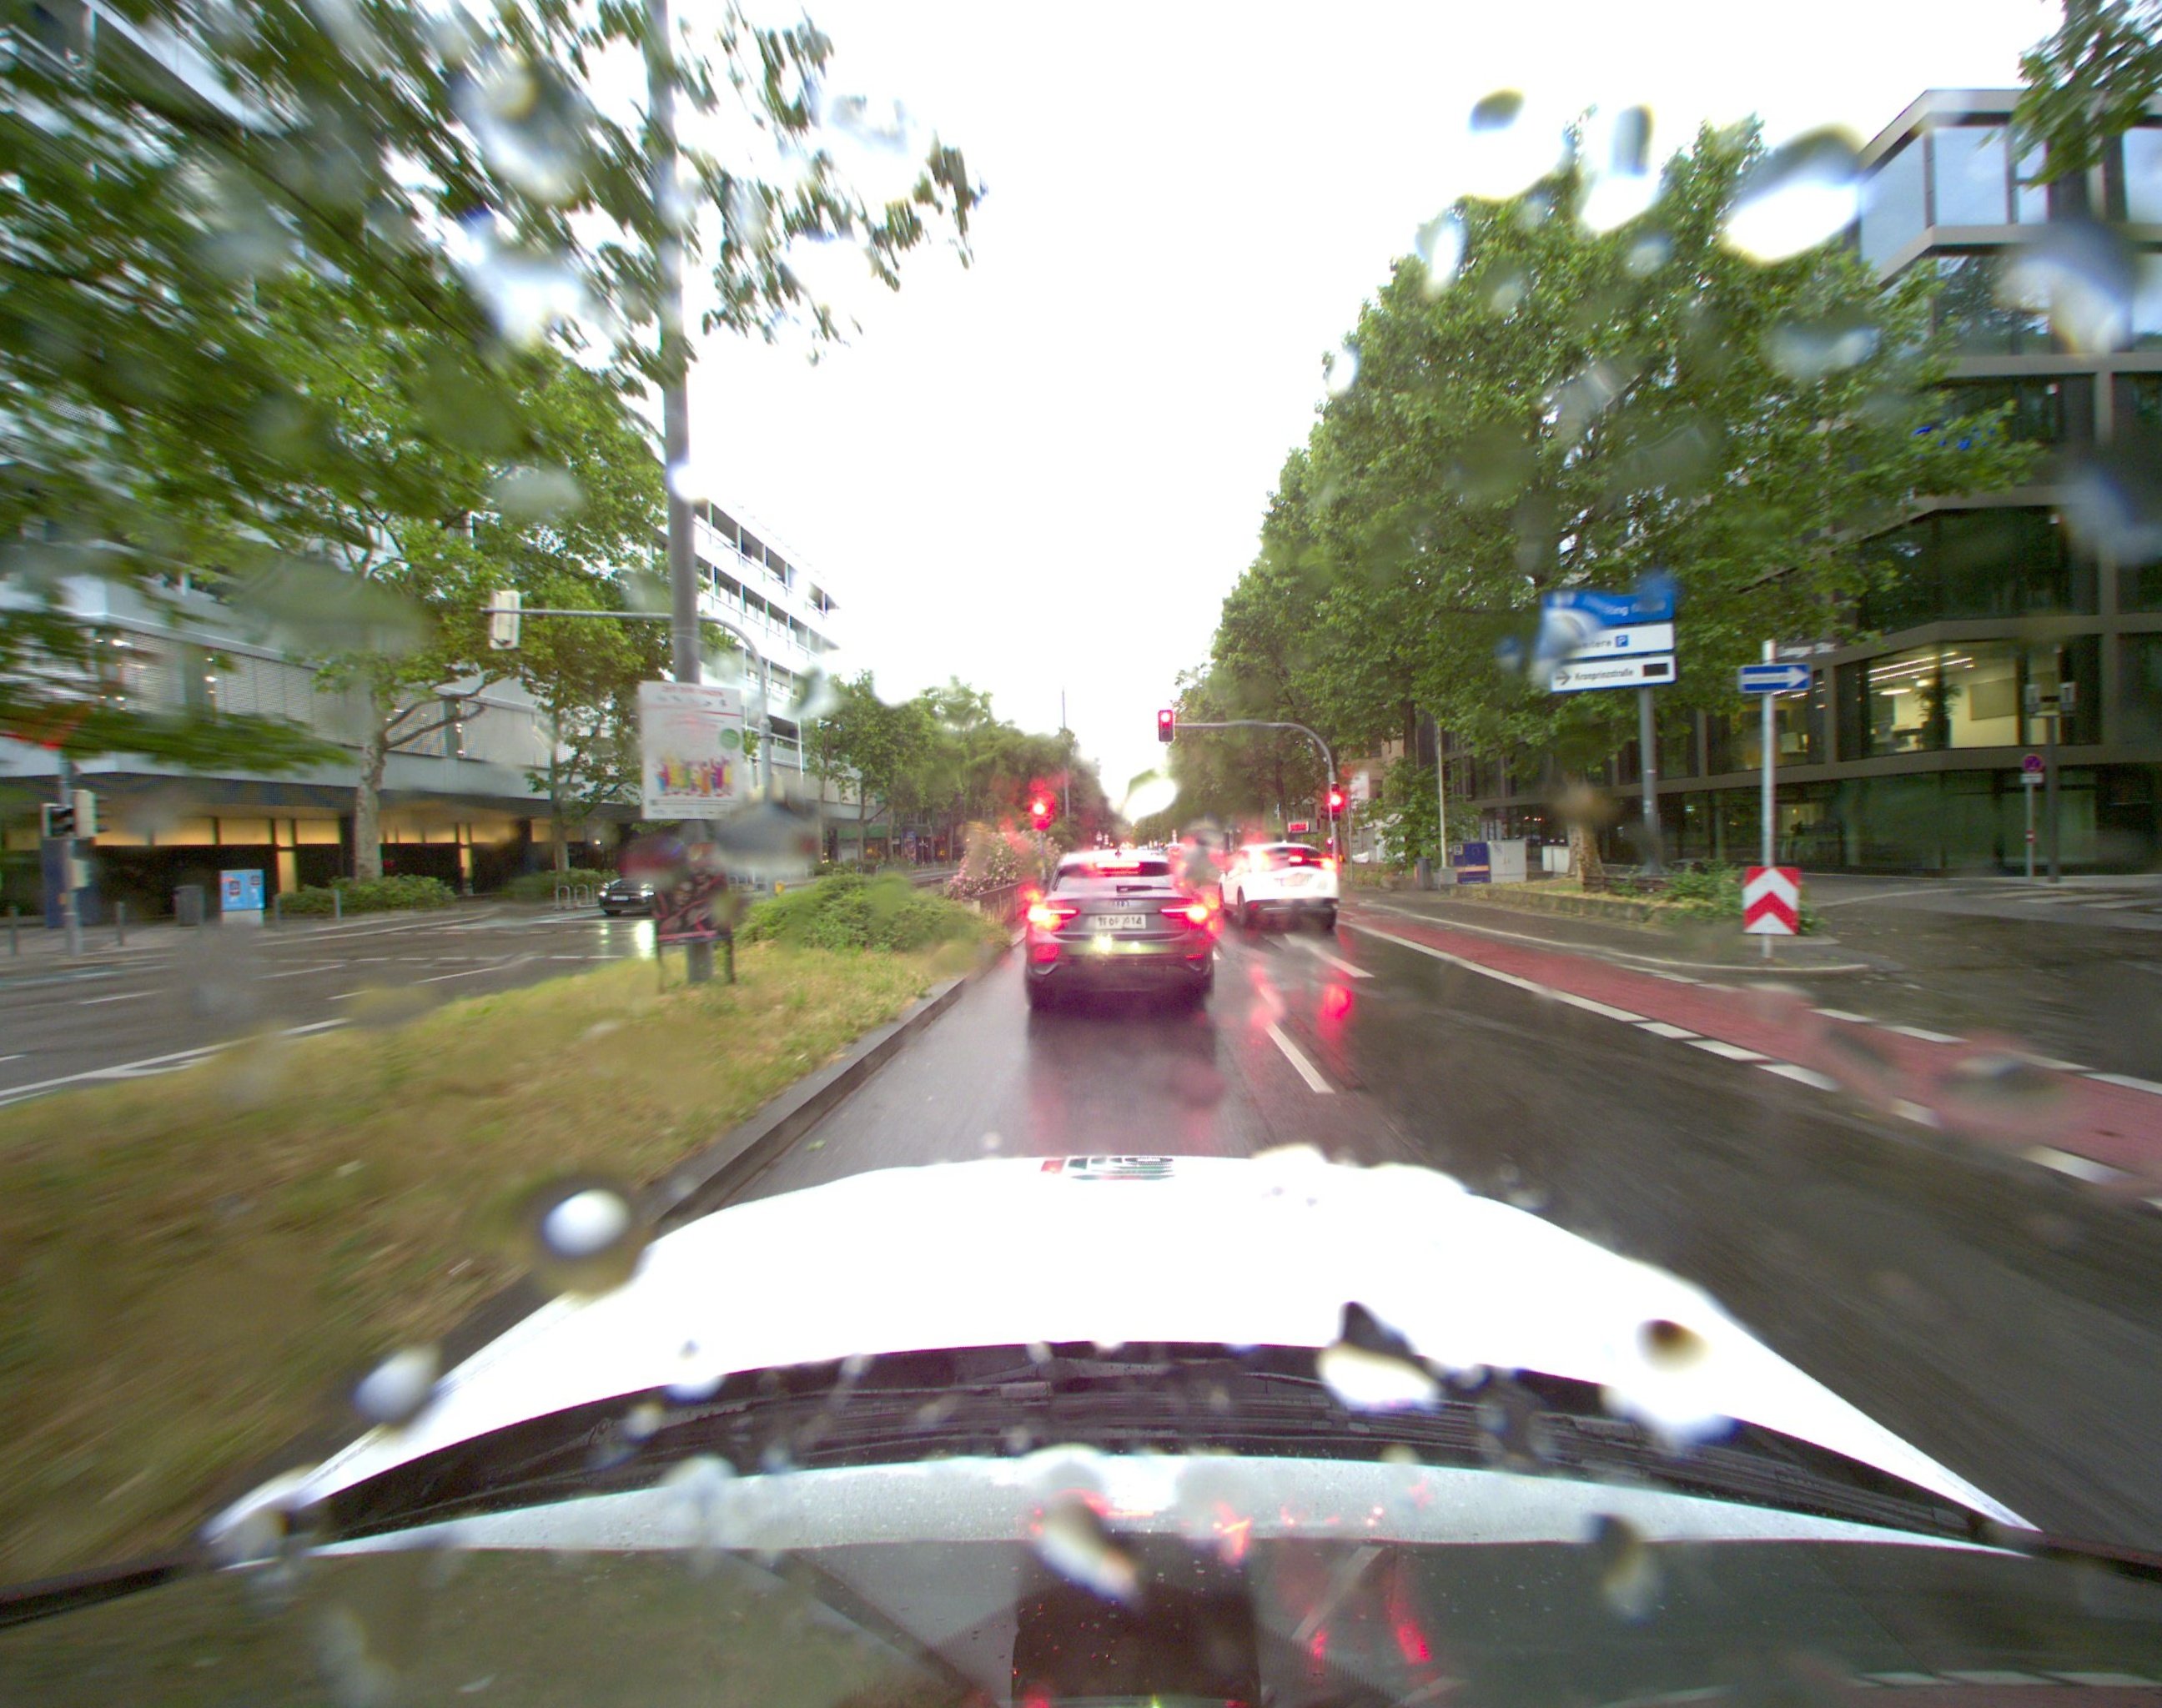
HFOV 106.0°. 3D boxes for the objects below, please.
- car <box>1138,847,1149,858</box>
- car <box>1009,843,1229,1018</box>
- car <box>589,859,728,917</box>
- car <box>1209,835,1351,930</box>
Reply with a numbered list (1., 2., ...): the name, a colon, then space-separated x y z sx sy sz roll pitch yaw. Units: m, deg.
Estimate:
1. car: 10.028 -0.235 130.755 1.614 1.666 4.003 -2 1 3
2. car: 0.434 0.655 9.219 1.911 1.491 4.003 -2 1 3
3. car: -13.080 1.006 25.534 1.821 1.552 4.195 -2 0 5
4. car: 3.996 0.508 17.221 1.985 1.655 4.892 -2 0 3
